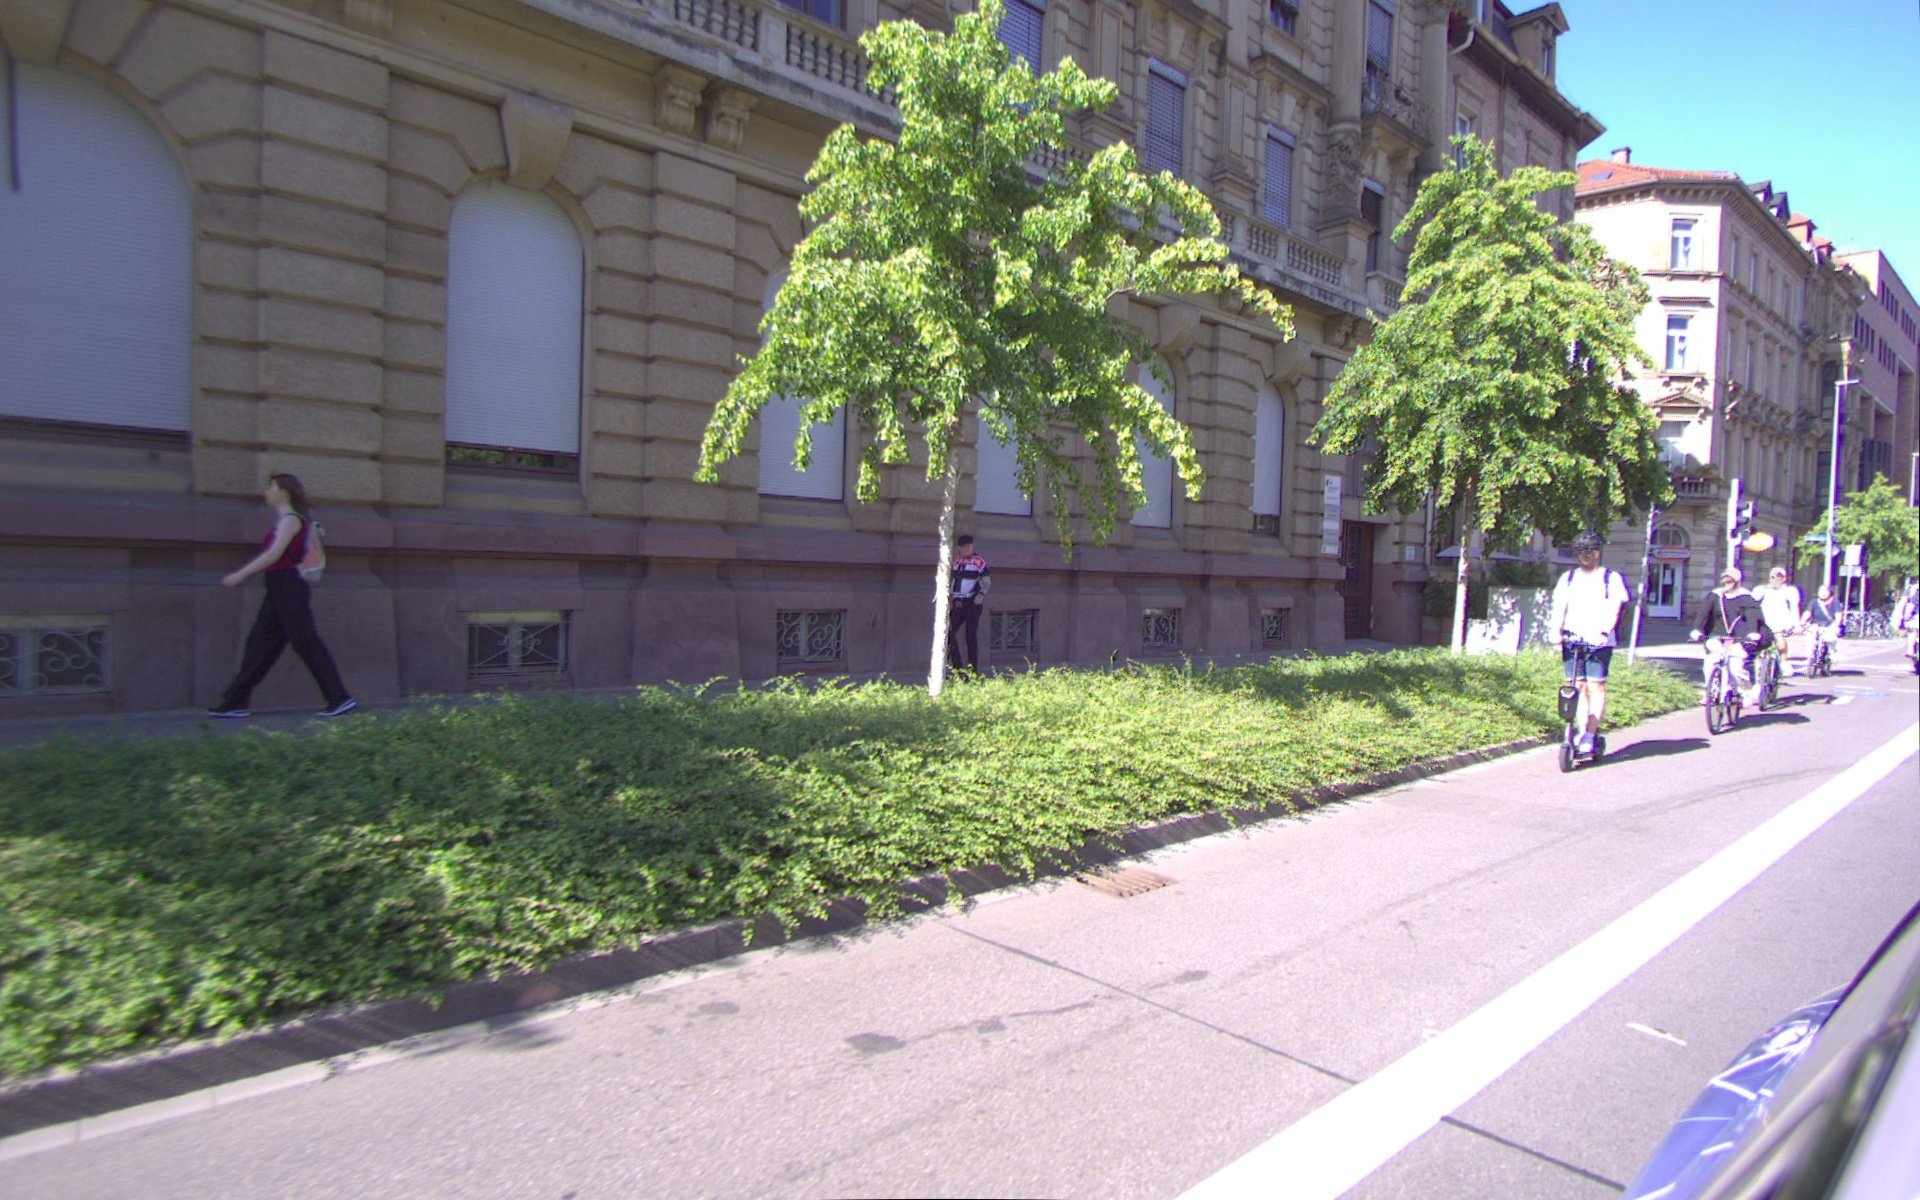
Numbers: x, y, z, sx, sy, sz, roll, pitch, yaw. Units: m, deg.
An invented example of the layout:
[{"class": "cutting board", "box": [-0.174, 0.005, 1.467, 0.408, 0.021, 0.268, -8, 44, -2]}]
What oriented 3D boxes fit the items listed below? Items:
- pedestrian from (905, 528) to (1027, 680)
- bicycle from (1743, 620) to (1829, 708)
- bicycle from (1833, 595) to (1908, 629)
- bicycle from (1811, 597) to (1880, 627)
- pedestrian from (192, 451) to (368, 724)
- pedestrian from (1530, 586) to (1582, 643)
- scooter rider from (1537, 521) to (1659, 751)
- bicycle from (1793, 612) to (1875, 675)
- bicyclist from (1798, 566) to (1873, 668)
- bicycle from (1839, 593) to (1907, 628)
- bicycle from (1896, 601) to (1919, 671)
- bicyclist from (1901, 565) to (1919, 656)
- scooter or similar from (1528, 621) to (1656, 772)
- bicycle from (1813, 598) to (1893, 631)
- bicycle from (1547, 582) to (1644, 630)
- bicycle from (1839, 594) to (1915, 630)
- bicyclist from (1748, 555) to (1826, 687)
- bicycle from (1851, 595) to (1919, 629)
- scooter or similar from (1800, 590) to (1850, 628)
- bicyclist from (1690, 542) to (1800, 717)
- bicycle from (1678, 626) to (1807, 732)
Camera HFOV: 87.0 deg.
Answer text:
[{"class": "pedestrian", "box": [0.071, 0.022, 12.162, 1.094, 1.713, 0.971, -1, 2, -41]}, {"class": "bicycle", "box": [11.039, 0.814, 13.505, 0.723, 1.019, 1.921, 1, 1, 44]}, {"class": "bicycle", "box": [33.047, 0.404, 36.753, 1.013, 1.042, 1.901, -1, 5, -43]}, {"class": "bicycle", "box": [30.583, 0.409, 34.960, 0.488, 0.936, 1.717, -1, 3, -40]}, {"class": "pedestrian", "box": [-5.281, -0.118, 7.885, 1.077, 1.943, 0.893, 0, 4, -35]}, {"class": "pedestrian", "box": [13.087, 0.299, 22.224, 0.866, 1.197, 0.719, -1, 3, -41]}, {"class": "scooter rider", "box": [5.589, 0.289, 8.863, 0.882, 1.890, 0.662, 0, 1, -42]}, {"class": "bicycle", "box": [15.645, 0.743, 18.098, 1.918, 1.019, 0.829, 0, 1, -41]}, {"class": "bicyclist", "box": [15.657, 0.279, 18.098, 0.971, 1.748, 0.853, 0, 1, -41]}, {"class": "bicycle", "box": [33.862, 0.370, 37.533, 1.115, 1.074, 1.677, -1, 7, -42]}, {"class": "bicycle", "box": [17.625, 0.634, 18.357, 1.918, 1.209, 0.724, 0, 1, -41]}, {"class": "bicyclist", "box": [17.631, 0.186, 18.352, 0.879, 1.625, 0.724, 0, 1, -41]}, {"class": "scooter or similar", "box": [5.536, 0.799, 8.853, 1.130, 1.172, 0.646, 0, 1, -41]}, {"class": "bicycle", "box": [30.279, 0.466, 34.357, 0.580, 0.922, 1.911, 0, 5, -32]}, {"class": "bicycle", "box": [18.626, 0.162, 29.733, 0.801, 1.247, 2.221, 4, 1, -34]}, {"class": "bicycle", "box": [32.156, 0.414, 35.506, 0.598, 1.061, 1.873, -1, 6, -45]}, {"class": "bicyclist", "box": [10.988, 0.255, 13.441, 0.699, 1.677, 0.961, 1, 1, 45]}, {"class": "bicycle", "box": [35.099, 0.451, 38.206, 0.833, 1.054, 2.062, -1, 6, -41]}, {"class": "scooter or similar", "box": [28.840, 0.287, 33.752, 0.479, 1.212, 1.197, 0, 2, -45]}, {"class": "bicyclist", "box": [8.753, 0.304, 11.279, 1.071, 1.840, 0.725, 0, 1, -39]}, {"class": "bicycle", "box": [8.747, 0.839, 11.284, 1.917, 1.019, 0.725, 0, 1, -40]}]
